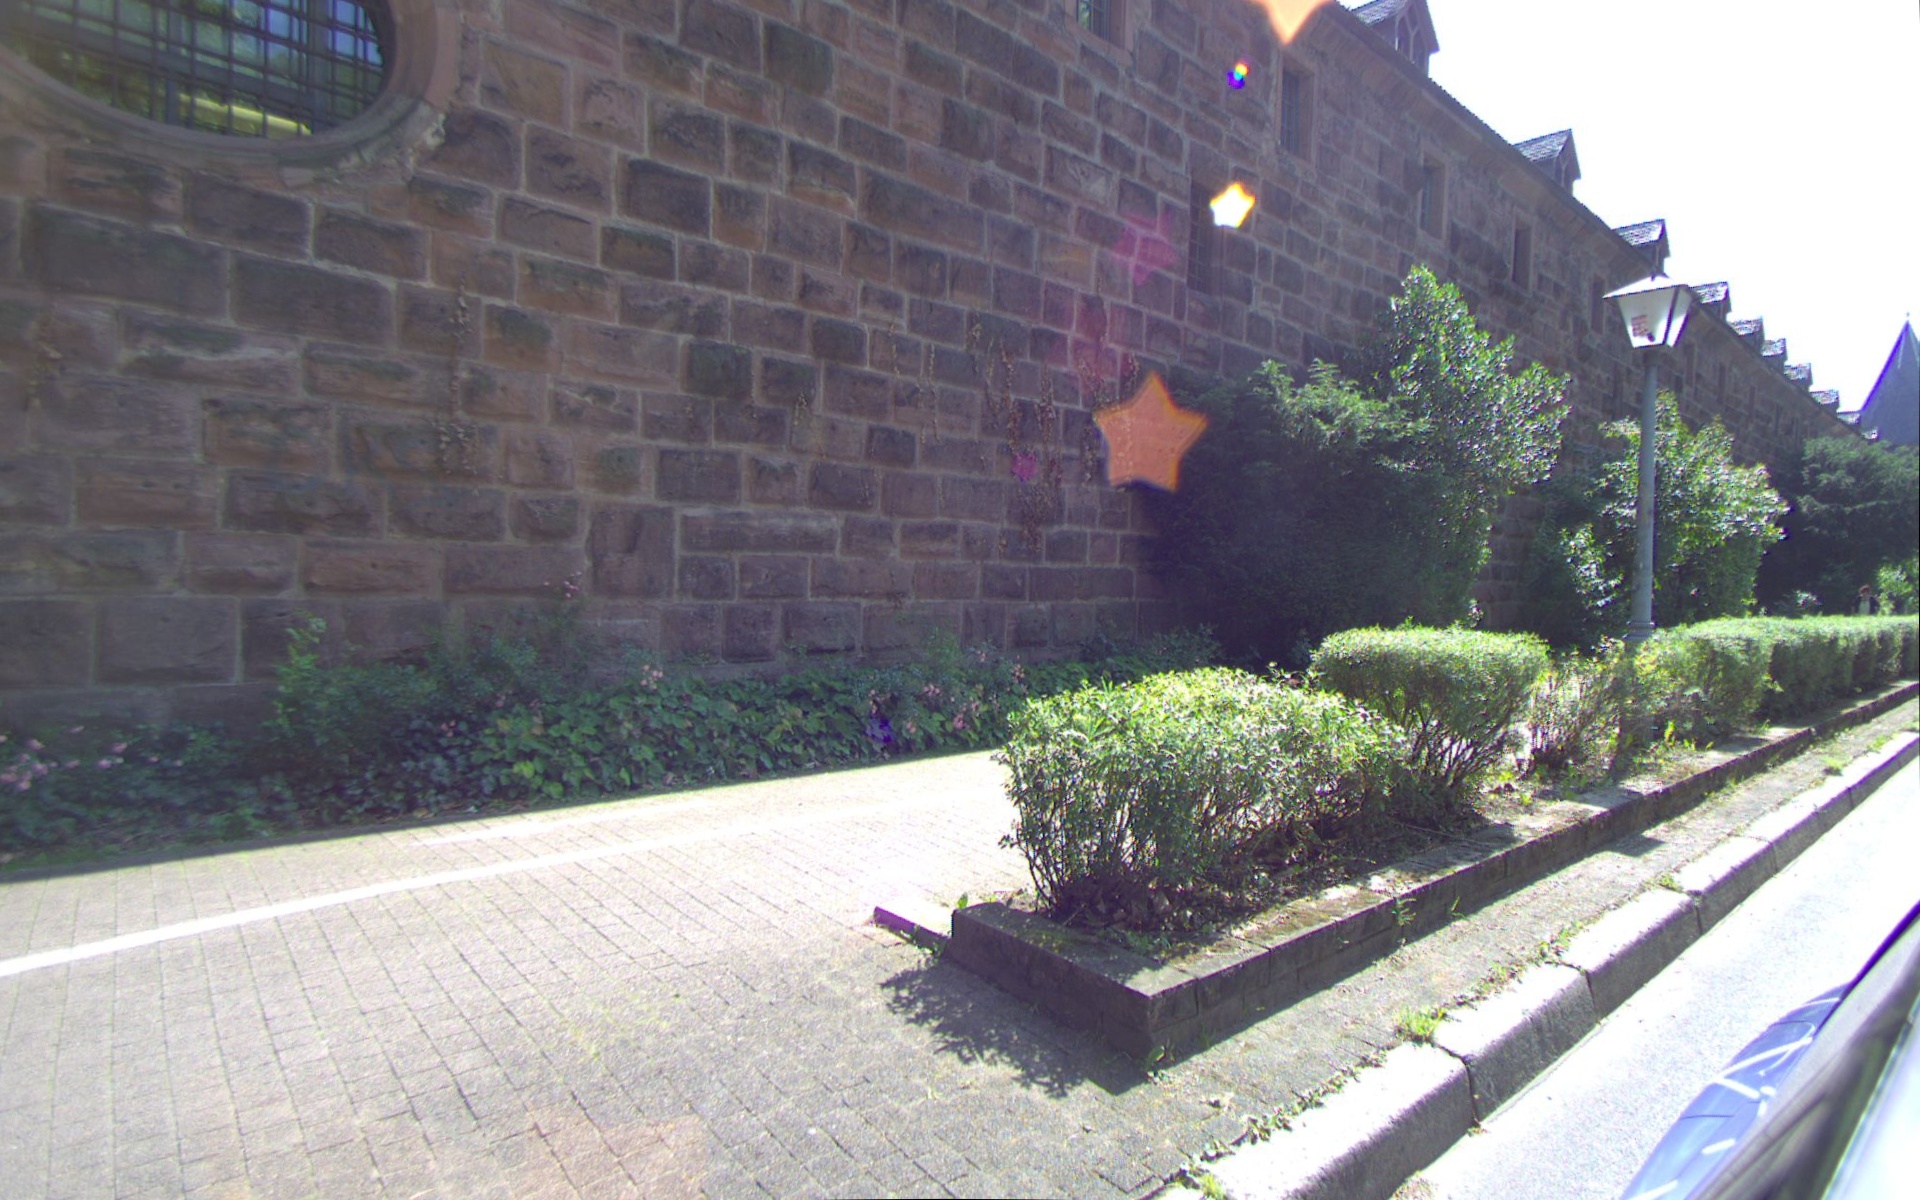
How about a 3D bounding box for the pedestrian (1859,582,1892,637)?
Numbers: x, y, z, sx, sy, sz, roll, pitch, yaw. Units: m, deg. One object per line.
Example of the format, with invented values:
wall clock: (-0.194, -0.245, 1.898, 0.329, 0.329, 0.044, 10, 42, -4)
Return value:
pedestrian: (26.761, 0.259, 29.591, 0.554, 1.583, 0.642, 0, 0, -41)
